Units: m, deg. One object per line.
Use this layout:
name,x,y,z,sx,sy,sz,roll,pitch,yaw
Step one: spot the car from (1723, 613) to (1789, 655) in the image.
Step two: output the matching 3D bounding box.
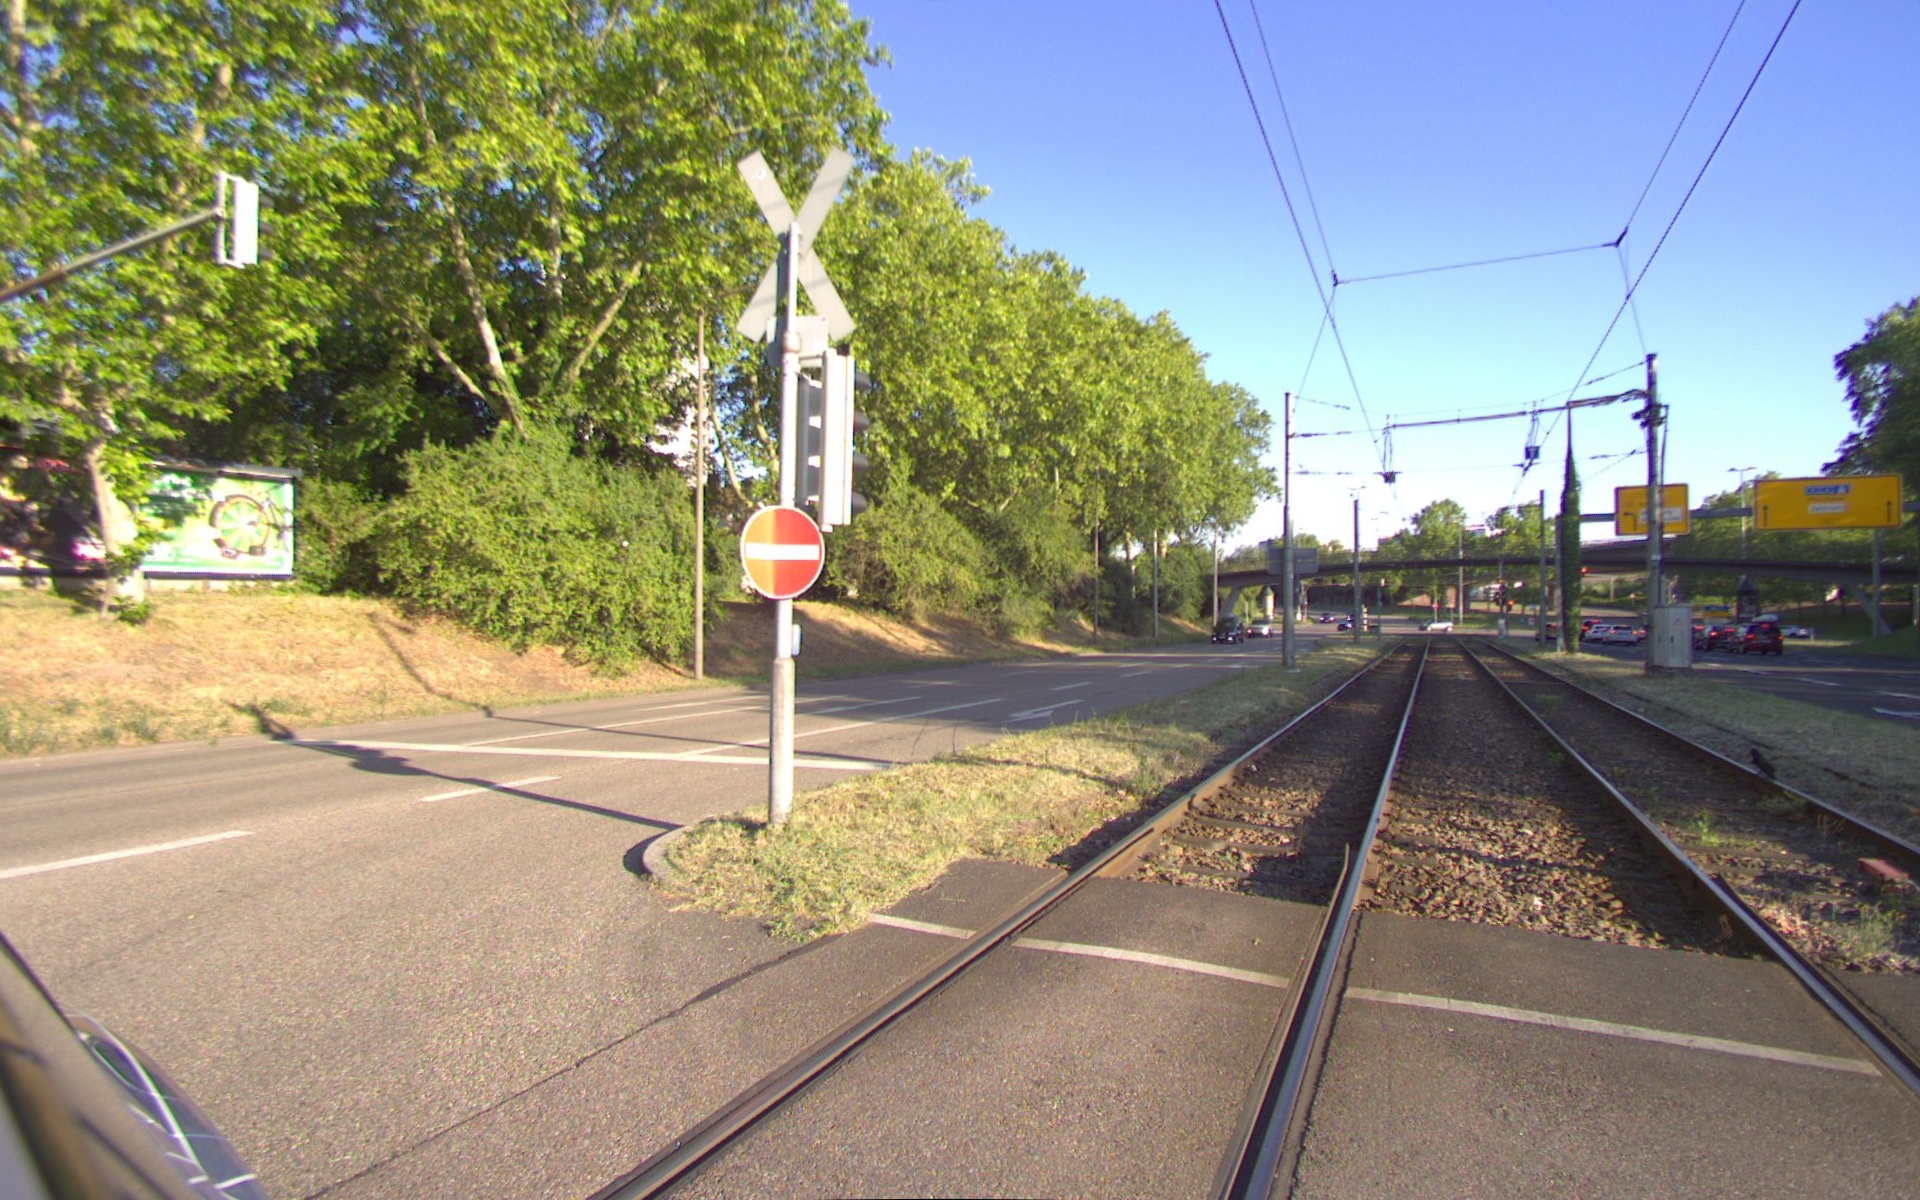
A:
car,41.968,1.754,53.435,1.788,2.121,3.965,-2,-2,25

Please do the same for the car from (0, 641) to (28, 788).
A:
car,-11.024,1.143,8.837,1.621,1.453,3.950,-2,-1,25

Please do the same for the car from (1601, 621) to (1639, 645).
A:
car,46.380,2.325,71.194,1.659,1.577,4.153,-2,-1,26

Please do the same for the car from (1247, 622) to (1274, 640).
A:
car,26.294,2.680,88.423,1.985,1.451,4.163,-2,-2,20

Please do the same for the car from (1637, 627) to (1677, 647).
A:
car,53.187,2.783,77.332,1.788,1.393,4.437,-2,-1,26

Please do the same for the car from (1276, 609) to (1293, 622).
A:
car,48.302,2.286,150.559,1.874,1.785,3.967,1,0,24

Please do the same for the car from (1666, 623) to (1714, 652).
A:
car,46.887,2.379,65.054,1.788,1.763,3.965,-2,-2,26

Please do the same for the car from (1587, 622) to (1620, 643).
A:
car,49.205,2.490,77.464,1.739,1.443,4.369,1,0,28

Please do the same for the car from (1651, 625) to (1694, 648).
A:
car,50.457,2.564,71.725,1.788,1.493,3.965,-2,-2,26

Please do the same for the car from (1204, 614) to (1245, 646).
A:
car,18.837,2.119,72.027,1.990,2.179,4.152,-2,-2,27

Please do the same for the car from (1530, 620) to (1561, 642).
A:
car,43.939,2.328,75.964,1.659,1.577,3.965,-2,-1,26

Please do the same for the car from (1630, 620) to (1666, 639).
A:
car,55.509,2.401,81.702,1.788,1.453,3.965,-2,-2,26
